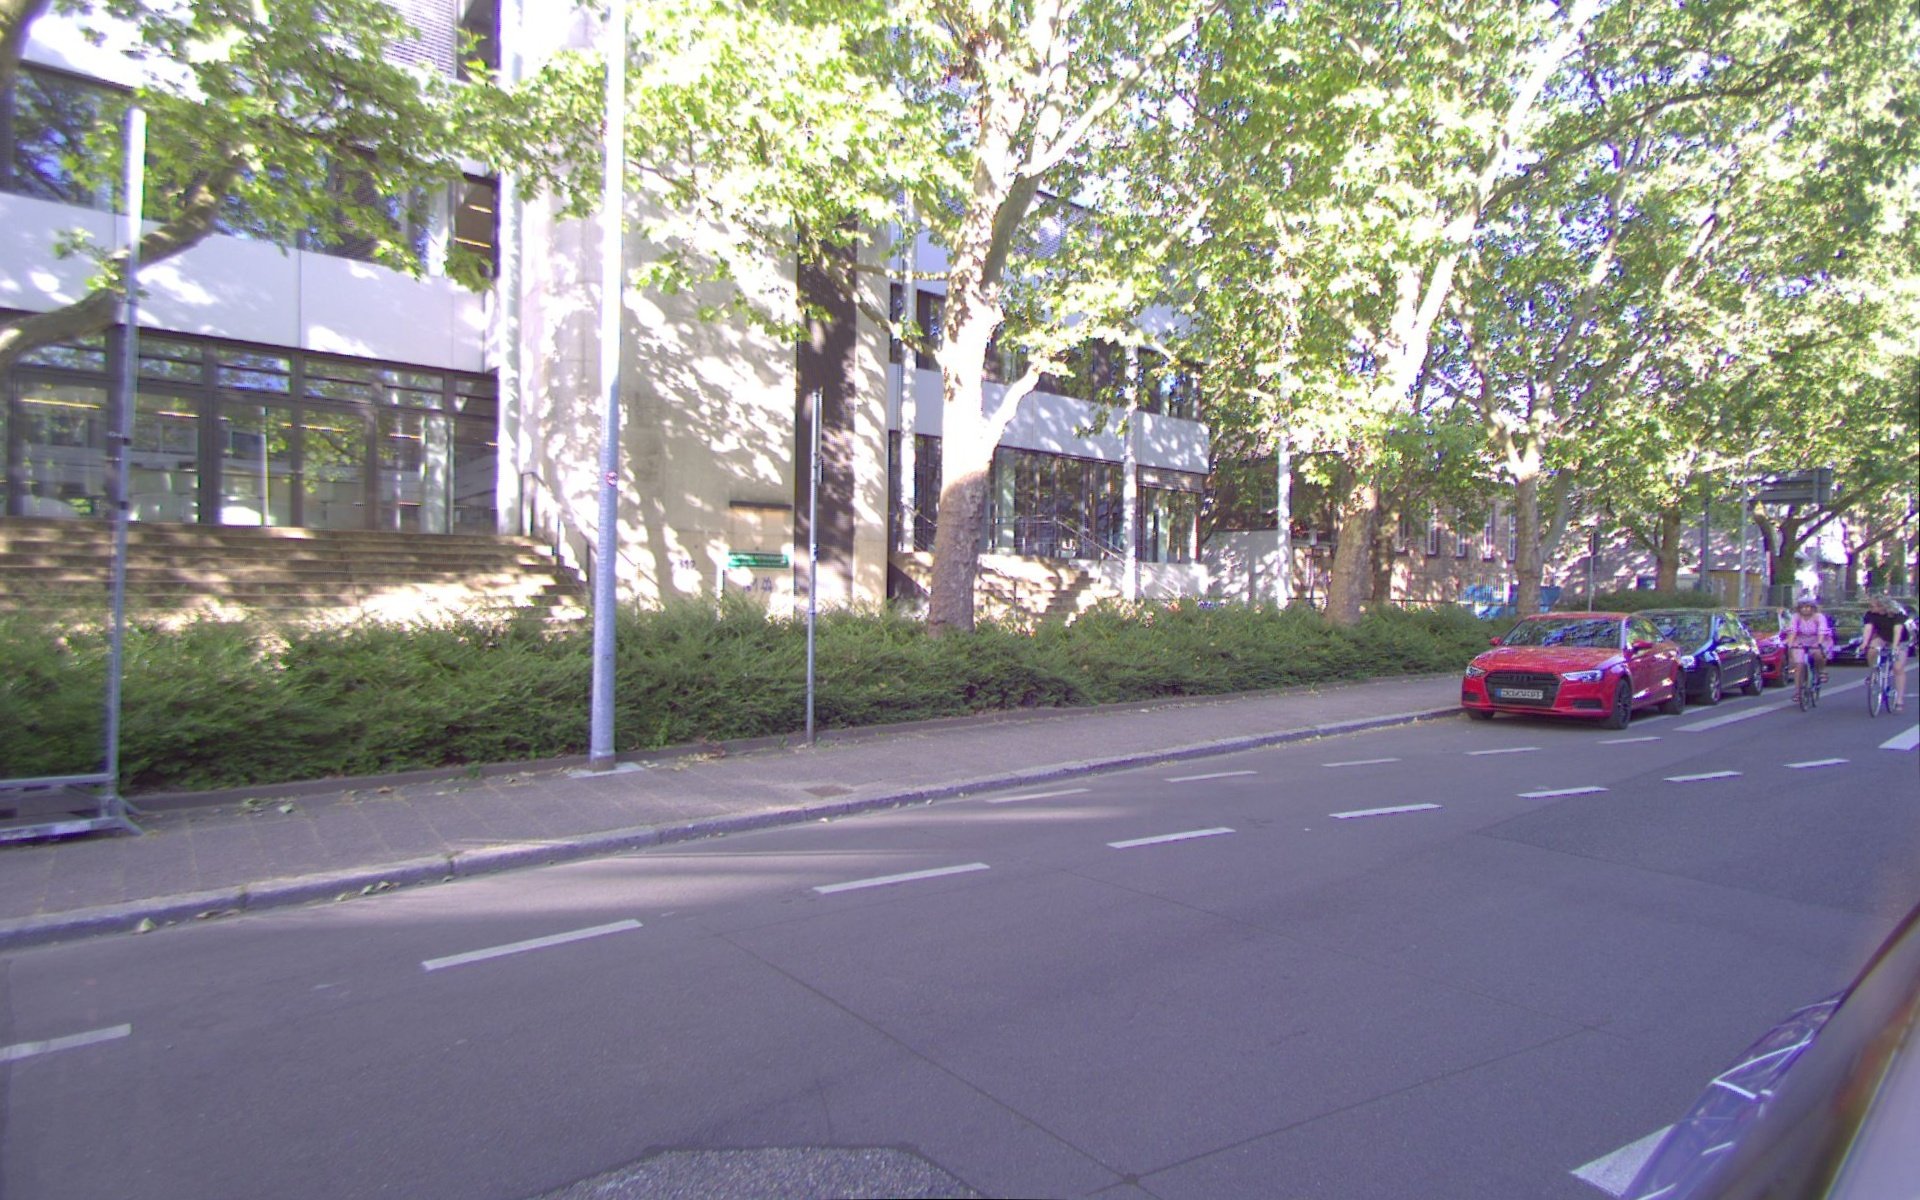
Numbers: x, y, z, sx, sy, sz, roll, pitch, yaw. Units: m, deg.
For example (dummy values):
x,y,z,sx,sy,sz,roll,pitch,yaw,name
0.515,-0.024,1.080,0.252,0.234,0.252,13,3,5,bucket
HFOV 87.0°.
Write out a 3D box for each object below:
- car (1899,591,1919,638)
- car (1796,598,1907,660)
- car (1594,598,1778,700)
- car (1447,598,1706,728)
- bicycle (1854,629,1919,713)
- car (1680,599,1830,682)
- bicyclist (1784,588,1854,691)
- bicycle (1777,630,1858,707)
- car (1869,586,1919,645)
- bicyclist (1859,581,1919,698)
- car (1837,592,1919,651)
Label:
x,y,z,sx,sy,sz,roll,pitch,yaw,name
35.942,0.528,37.239,3.777,1.675,1.634,0,-1,-41,car
22.804,0.696,25.857,3.674,1.483,1.634,0,-1,-41,car
11.924,0.718,16.550,3.674,1.483,1.634,0,-1,-41,car
8.317,0.722,13.521,4.053,1.483,1.802,0,-1,-41,car
12.736,0.932,13.777,1.701,1.039,0.611,0,-1,-41,bicycle
15.682,0.723,19.913,3.674,1.483,1.634,0,-1,-41,car
12.360,0.553,14.560,0.915,1.420,0.601,0,-1,-41,bicyclist
12.383,0.960,14.589,1.848,0.997,0.601,0,-1,-41,bicycle
30.957,0.474,32.884,3.777,1.828,1.634,0,-1,-41,car
12.783,0.522,13.825,0.874,1.535,0.611,0,-1,-41,bicyclist
26.584,0.583,29.018,3.777,1.607,1.634,0,-1,-41,car
